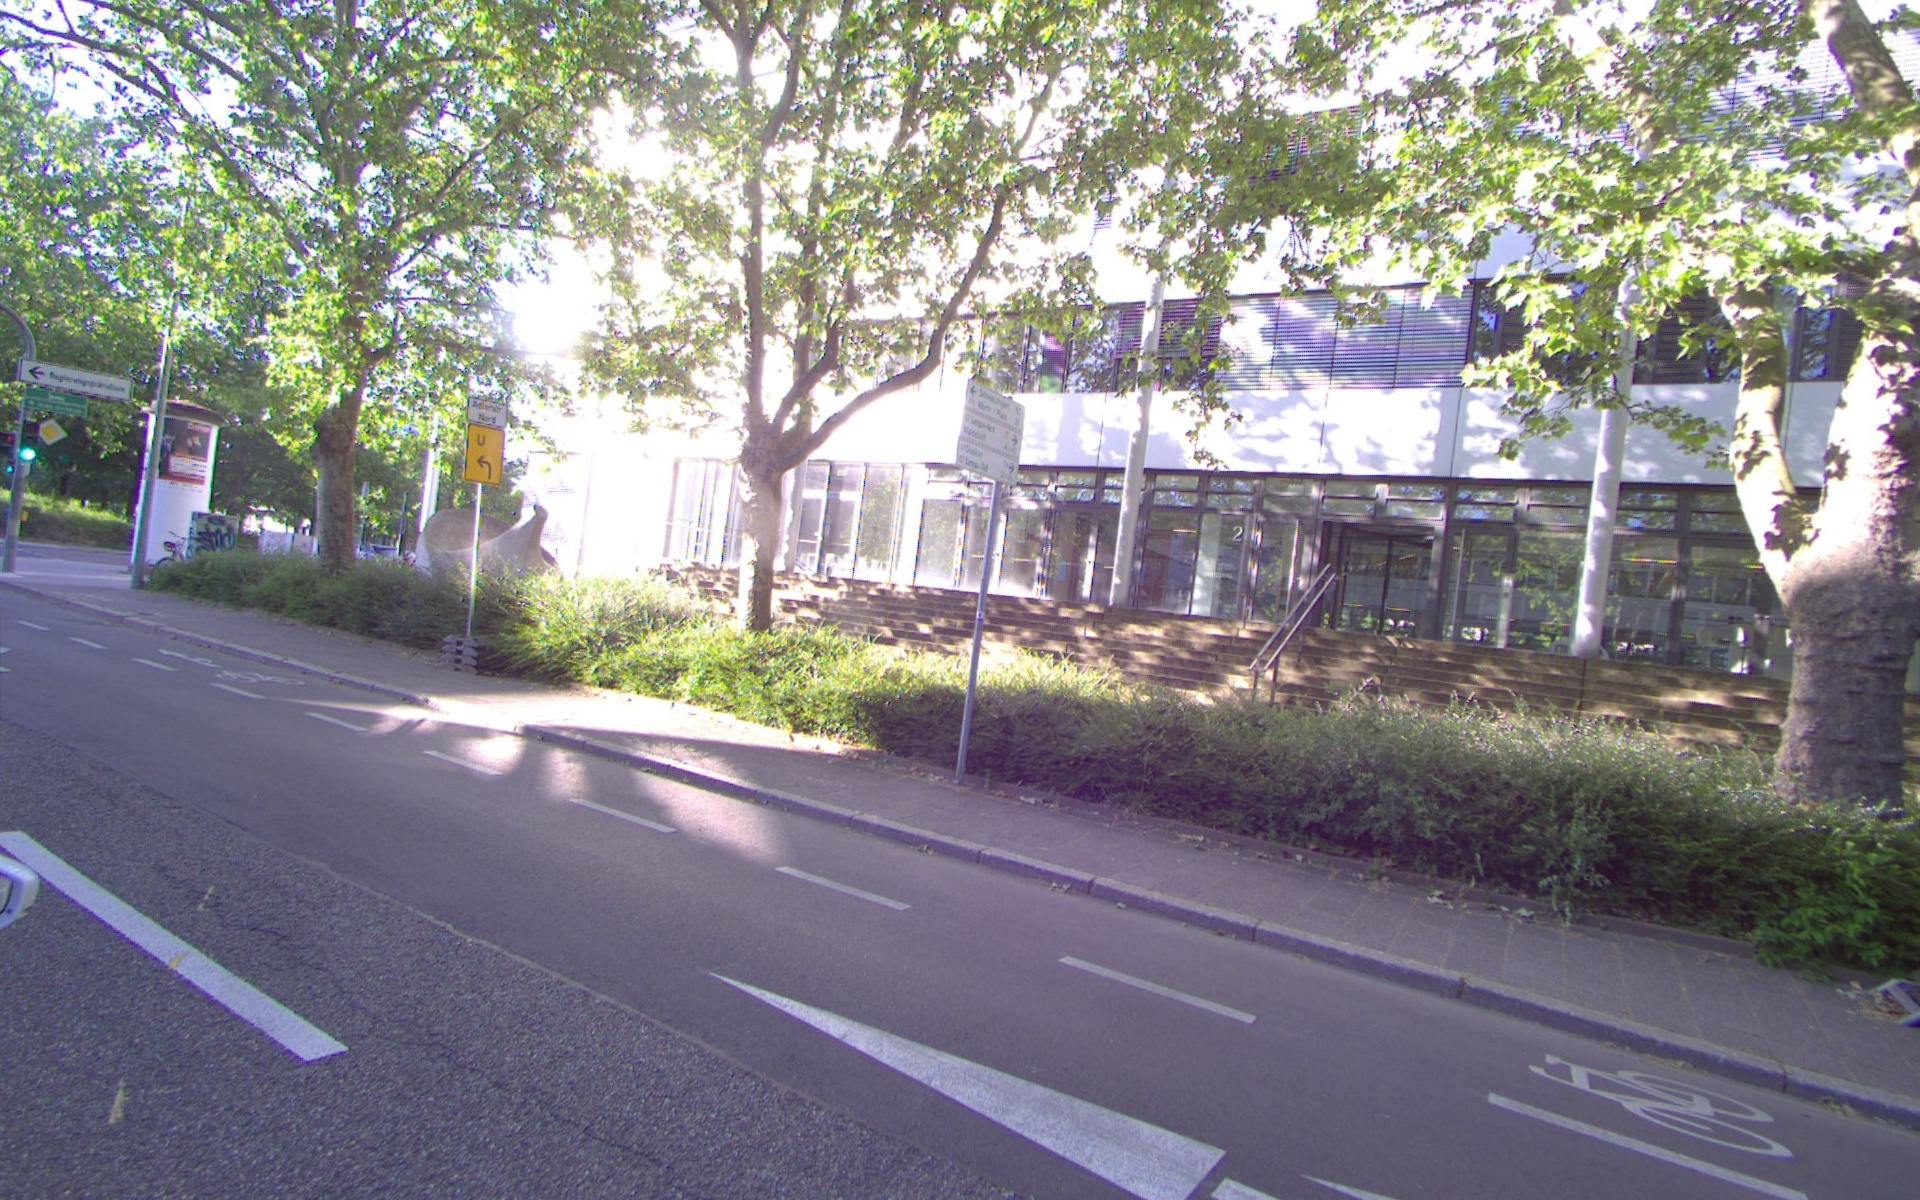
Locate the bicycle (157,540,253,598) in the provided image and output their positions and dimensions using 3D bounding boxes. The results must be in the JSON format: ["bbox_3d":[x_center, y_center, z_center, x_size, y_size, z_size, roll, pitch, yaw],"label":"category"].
[{"bbox_3d":[-15.907,-0.634,21.250,0.631,1.040,1.887,7,-2,-5],"label":"bicycle"}]
